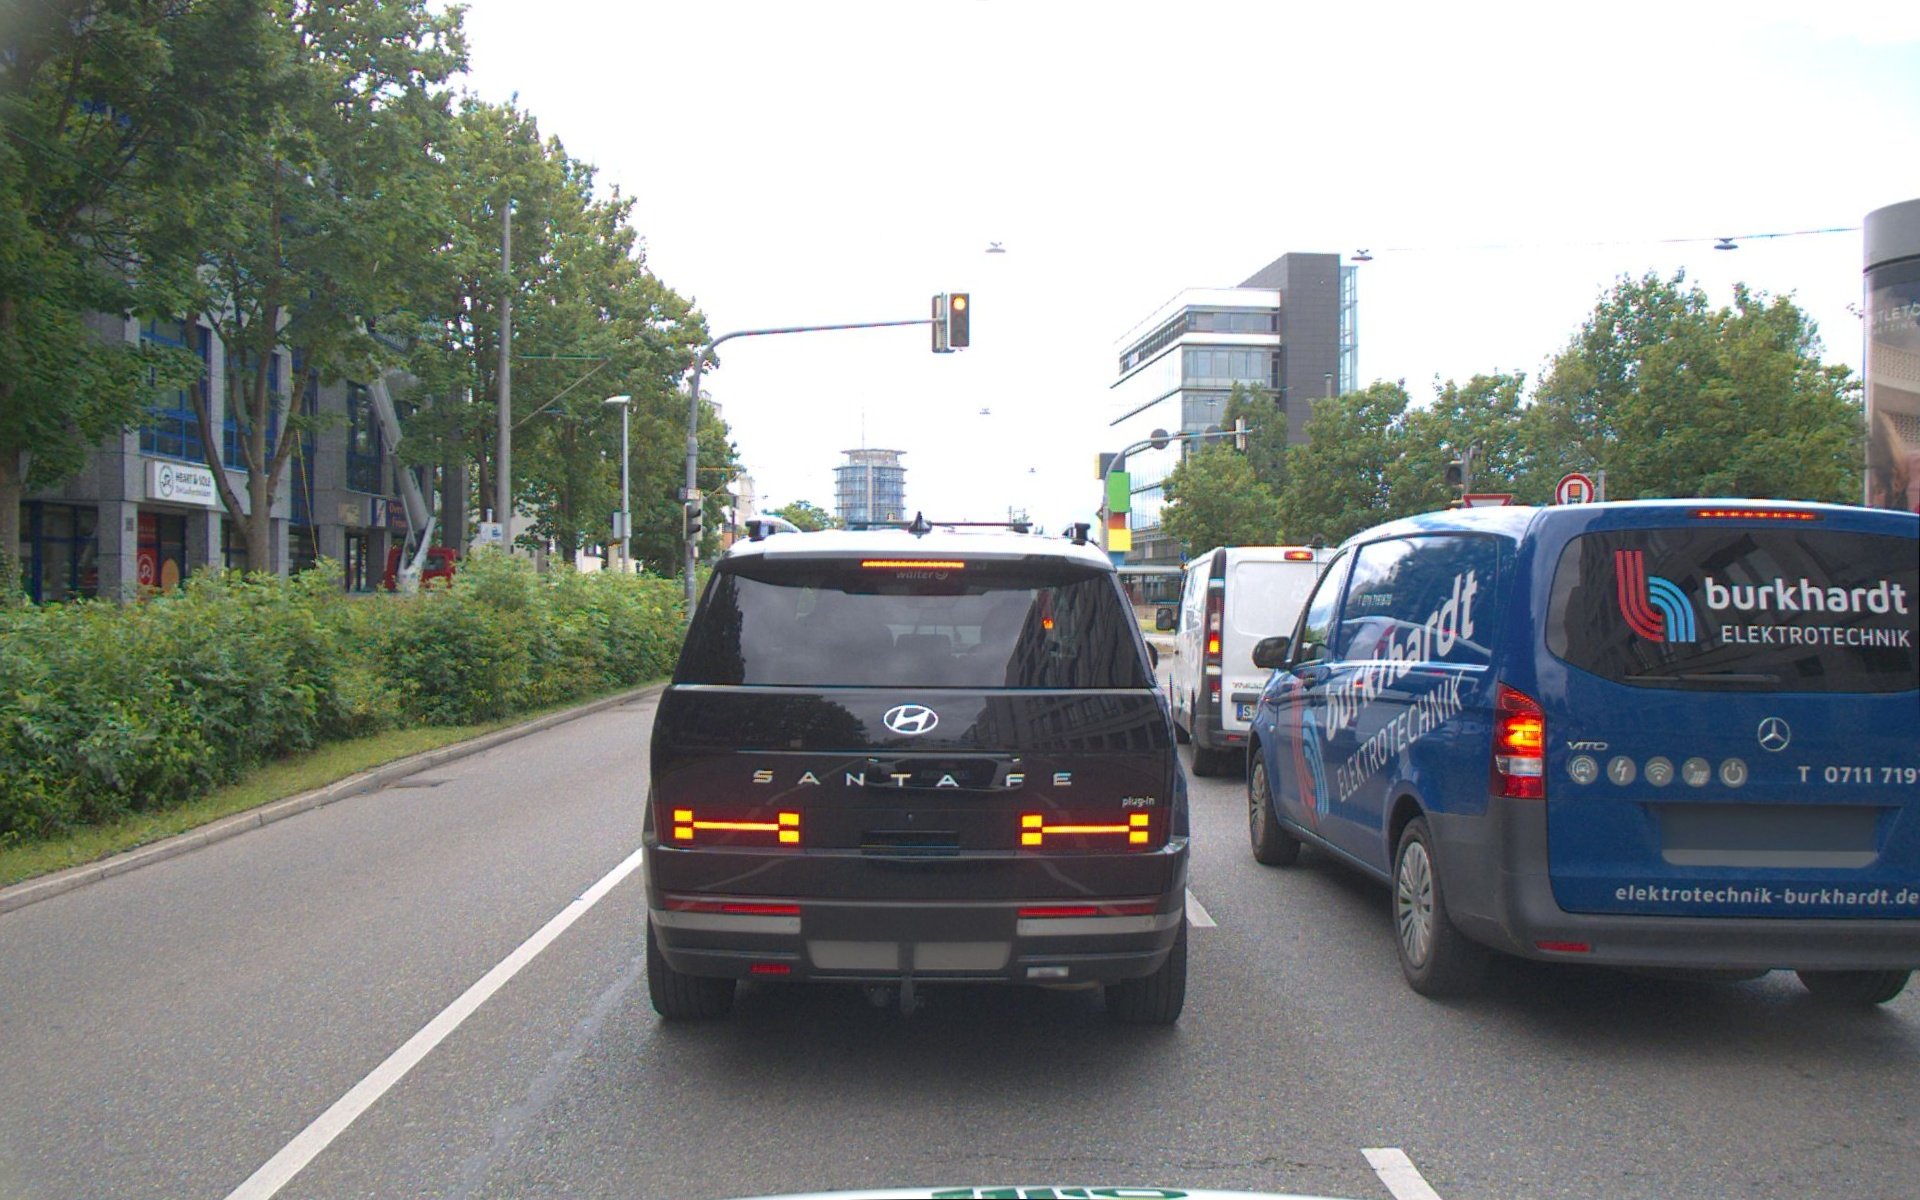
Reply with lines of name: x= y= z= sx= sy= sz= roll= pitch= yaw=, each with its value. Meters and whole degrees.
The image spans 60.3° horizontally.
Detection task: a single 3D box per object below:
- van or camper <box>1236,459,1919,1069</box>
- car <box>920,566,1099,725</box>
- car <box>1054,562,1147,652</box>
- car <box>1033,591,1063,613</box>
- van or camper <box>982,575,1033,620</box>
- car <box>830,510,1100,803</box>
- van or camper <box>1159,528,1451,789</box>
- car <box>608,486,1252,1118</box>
van or camper: x=2.666 y=0.512 z=7.806 sx=1.822 sy=1.944 sz=5.031 roll=0 pitch=0 yaw=-1
car: x=0.721 y=0.518 z=20.604 sx=1.738 sy=1.747 sz=4.342 roll=1 pitch=0 yaw=8
car: x=3.372 y=0.178 z=40.367 sx=1.952 sy=2.049 sz=4.000 roll=1 pitch=0 yaw=0
car: x=7.020 y=0.184 z=131.918 sx=1.954 sy=1.713 sz=3.997 roll=1 pitch=0 yaw=-3
van or camper: x=2.962 y=-0.124 z=100.619 sx=1.951 sy=2.591 sz=6.583 roll=0 pitch=0 yaw=12
car: x=0.007 y=0.381 z=13.465 sx=1.876 sy=2.038 sz=3.879 roll=0 pitch=0 yaw=-1
van or camper: x=3.027 y=0.457 z=15.502 sx=1.952 sy=2.049 sz=4.654 roll=1 pitch=0 yaw=3
car: x=-0.107 y=0.564 z=6.651 sx=1.831 sy=1.791 sz=3.879 roll=0 pitch=0 yaw=-1
